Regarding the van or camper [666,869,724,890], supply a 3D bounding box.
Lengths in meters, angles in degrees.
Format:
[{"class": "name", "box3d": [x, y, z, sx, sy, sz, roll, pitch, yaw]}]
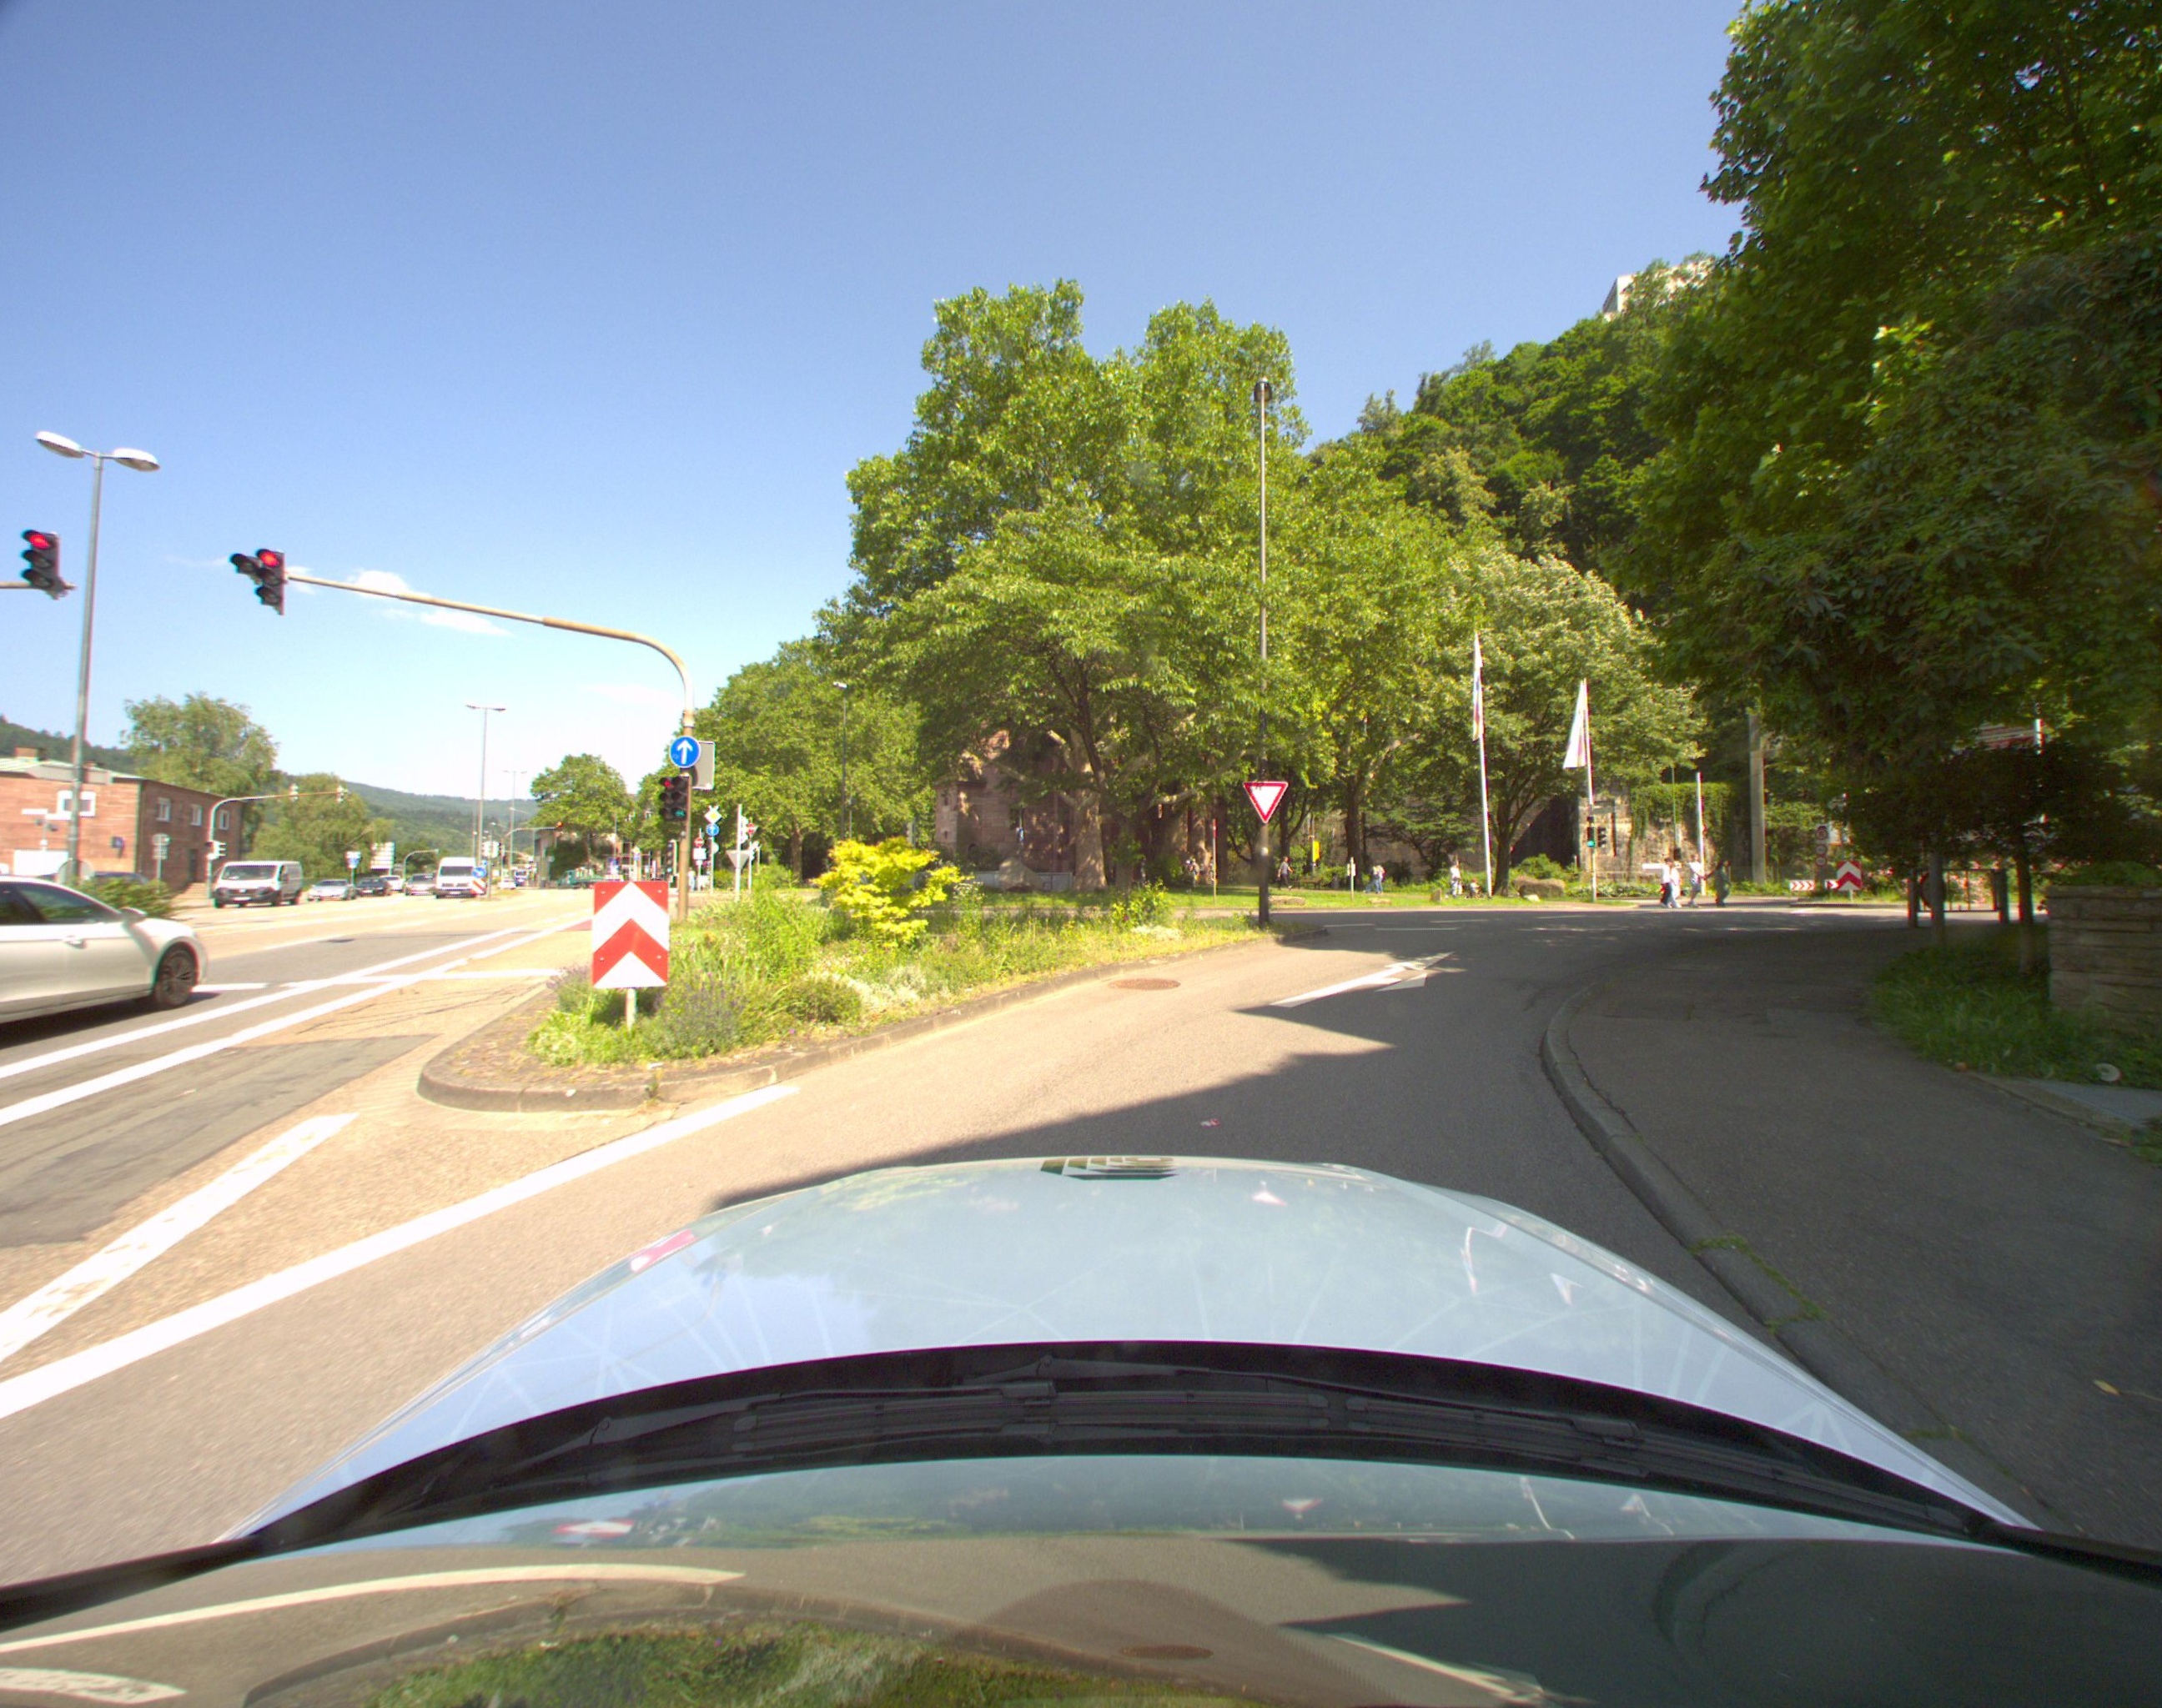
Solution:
[{"class": "van or camper", "box3d": [-36.881, 2.418, 77.902, 4.533, 1.902, 1.997, -1, -1, -4]}]

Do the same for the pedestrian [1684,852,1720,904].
[{"class": "pedestrian", "box3d": [21.565, 0.841, 28.277, 0.766, 1.756, 0.755, 2, -2, -27]}]

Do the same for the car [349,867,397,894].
[{"class": "car", "box3d": [-51.254, 1.896, 59.038, 2.223, 1.780, 4.698, 0, 0, -36]}]

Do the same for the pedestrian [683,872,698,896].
[{"class": "pedestrian", "box3d": [-27.735, 2.110, 57.805, 0.763, 1.708, 0.873, -1, -1, -14]}]

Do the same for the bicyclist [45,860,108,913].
[{"class": "bicyclist", "box3d": [-39.207, 1.258, 31.820, 1.220, 2.014, 1.108, 0, -1, -30]}]

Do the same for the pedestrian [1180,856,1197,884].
[{"class": "pedestrian", "box3d": [6.781, 1.004, 51.181, 0.797, 1.756, 0.659, 2, -2, -27]}]

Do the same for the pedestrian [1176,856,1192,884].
[{"class": "pedestrian", "box3d": [6.738, 1.046, 53.306, 0.797, 1.756, 0.659, 2, -2, -27]}]

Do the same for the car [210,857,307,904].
[{"class": "car", "box3d": [-39.184, 1.208, 38.968, 2.230, 2.078, 4.991, 0, -1, -33]}]

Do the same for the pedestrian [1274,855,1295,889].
[{"class": "pedestrian", "box3d": [10.658, 0.943, 42.659, 0.797, 1.756, 0.716, 2, -2, -27]}]

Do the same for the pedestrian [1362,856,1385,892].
[{"class": "pedestrian", "box3d": [14.518, 1.008, 40.412, 0.797, 1.756, 0.660, 2, -1, -27]}]

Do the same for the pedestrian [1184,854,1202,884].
[{"class": "pedestrian", "box3d": [6.849, 0.925, 49.900, 0.797, 1.756, 0.659, 2, -2, -27]}]

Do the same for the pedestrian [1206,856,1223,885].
[{"class": "pedestrian", "box3d": [8.367, 1.018, 50.890, 0.797, 1.756, 0.659, 2, -2, -27]}]

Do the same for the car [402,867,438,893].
[{"class": "car", "box3d": [-49.868, 1.929, 61.524, 2.009, 1.833, 3.955, 0, -1, -38]}]

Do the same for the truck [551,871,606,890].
[{"class": "truck", "box3d": [-57.199, 2.983, 92.751, 6.195, 2.014, 2.176, -1, -1, 24]}]

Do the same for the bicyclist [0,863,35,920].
[{"class": "bicyclist", "box3d": [-39.142, 1.354, 29.496, 1.220, 2.014, 1.108, 0, -1, -30]}]

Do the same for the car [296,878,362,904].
[{"class": "car", "box3d": [-45.998, 2.222, 49.921, 2.222, 1.458, 4.700, 0, -1, -33]}]

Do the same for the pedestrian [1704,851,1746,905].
[{"class": "pedestrian", "box3d": [21.627, 0.802, 27.349, 0.804, 1.756, 0.859, 2, -2, -27]}]

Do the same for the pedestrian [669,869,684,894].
[{"class": "pedestrian", "box3d": [-28.541, 1.930, 57.433, 0.763, 1.719, 0.791, -1, -1, -14]}]

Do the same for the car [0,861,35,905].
[{"class": "car", "box3d": [-51.481, 1.350, 36.942, 1.975, 2.014, 4.646, -1, -1, 28]}]

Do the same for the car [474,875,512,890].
[{"class": "car", "box3d": [-79.175, 3.808, 109.638, 3.959, 2.014, 1.950, -1, -1, 13]}]

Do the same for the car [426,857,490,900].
[{"class": "car", "box3d": [-39.894, 1.530, 52.315, 2.398, 2.576, 5.998, 0, -1, -29]}]

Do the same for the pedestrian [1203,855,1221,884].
[{"class": "pedestrian", "box3d": [8.034, 0.934, 49.915, 0.797, 1.756, 0.659, 2, -2, -27]}]

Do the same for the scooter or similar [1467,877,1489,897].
[{"class": "scooter or similar", "box3d": [16.895, 1.409, 34.650, 0.724, 0.812, 0.573, -1, -1, 39]}]

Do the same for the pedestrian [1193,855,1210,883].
[{"class": "pedestrian", "box3d": [7.639, 0.978, 51.617, 0.797, 1.756, 0.659, 2, -2, -27]}]

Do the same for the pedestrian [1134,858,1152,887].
[{"class": "pedestrian", "box3d": [3.921, 1.166, 51.473, 0.797, 1.782, 0.868, -1, -1, -27]}]

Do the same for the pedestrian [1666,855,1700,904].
[{"class": "pedestrian", "box3d": [21.841, 0.923, 29.558, 0.766, 1.756, 0.755, 2, -2, -27]}]

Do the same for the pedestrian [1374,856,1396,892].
[{"class": "pedestrian", "box3d": [15.246, 1.000, 40.793, 0.797, 1.756, 0.659, 2, -2, -27]}]

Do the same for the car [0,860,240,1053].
[{"class": "car", "box3d": [-9.764, 0.840, 7.005, 1.793, 1.532, 4.700, -1, -1, -23]}]

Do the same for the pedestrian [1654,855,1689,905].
[{"class": "pedestrian", "box3d": [21.149, 0.915, 29.170, 0.766, 1.756, 0.755, 2, -2, -27]}]

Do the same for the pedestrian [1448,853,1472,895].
[{"class": "pedestrian", "box3d": [16.355, 0.862, 35.140, 0.752, 1.756, 0.769, -1, -1, 40]}]
